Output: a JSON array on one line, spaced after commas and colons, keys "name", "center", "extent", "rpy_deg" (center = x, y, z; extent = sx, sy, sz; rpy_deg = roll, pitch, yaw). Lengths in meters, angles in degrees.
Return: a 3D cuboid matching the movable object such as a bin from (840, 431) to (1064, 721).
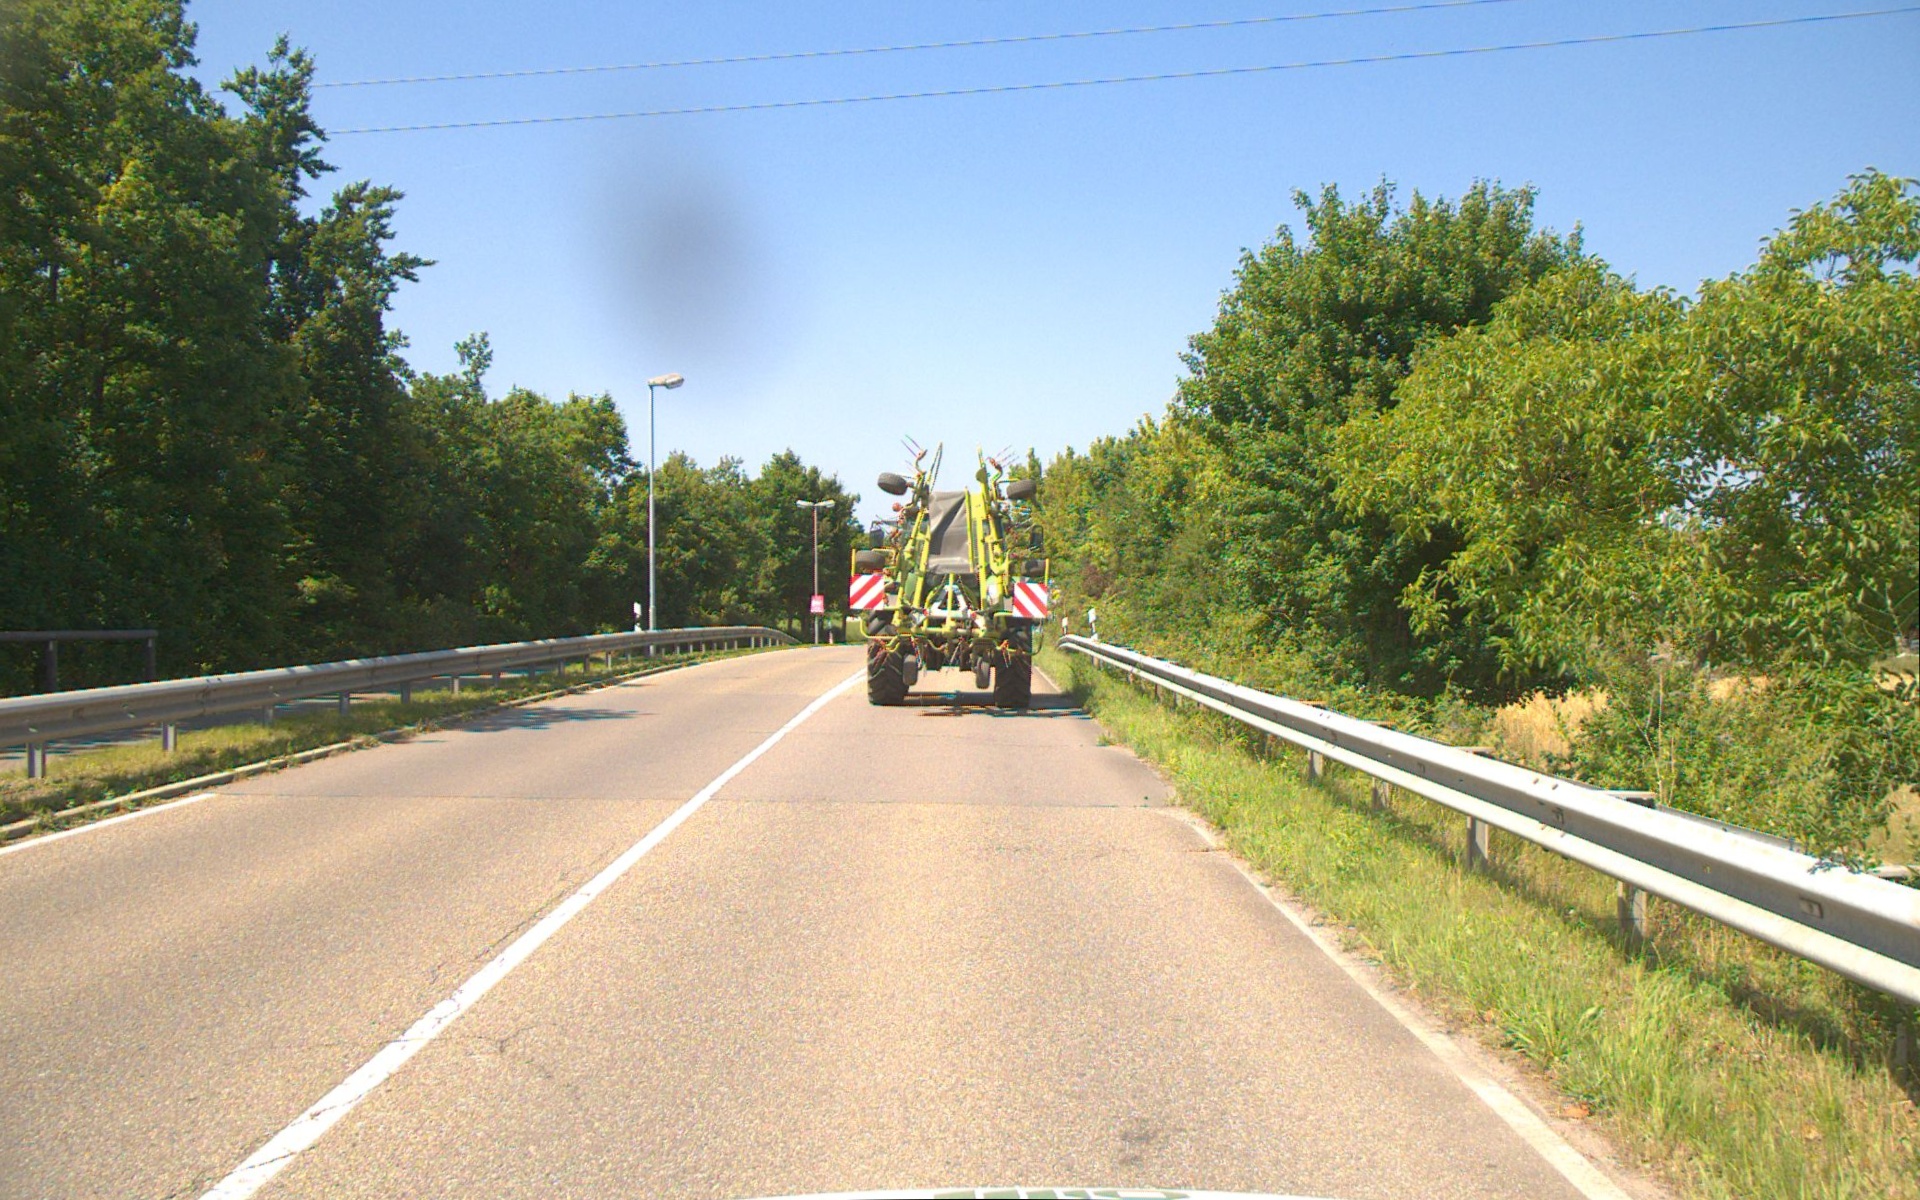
[{"name": "movable object such as a bin", "center": [-0.075, -0.319, 22.917], "extent": [2.698, 3.504, 5.670], "rpy_deg": [0, 1, 0]}]
